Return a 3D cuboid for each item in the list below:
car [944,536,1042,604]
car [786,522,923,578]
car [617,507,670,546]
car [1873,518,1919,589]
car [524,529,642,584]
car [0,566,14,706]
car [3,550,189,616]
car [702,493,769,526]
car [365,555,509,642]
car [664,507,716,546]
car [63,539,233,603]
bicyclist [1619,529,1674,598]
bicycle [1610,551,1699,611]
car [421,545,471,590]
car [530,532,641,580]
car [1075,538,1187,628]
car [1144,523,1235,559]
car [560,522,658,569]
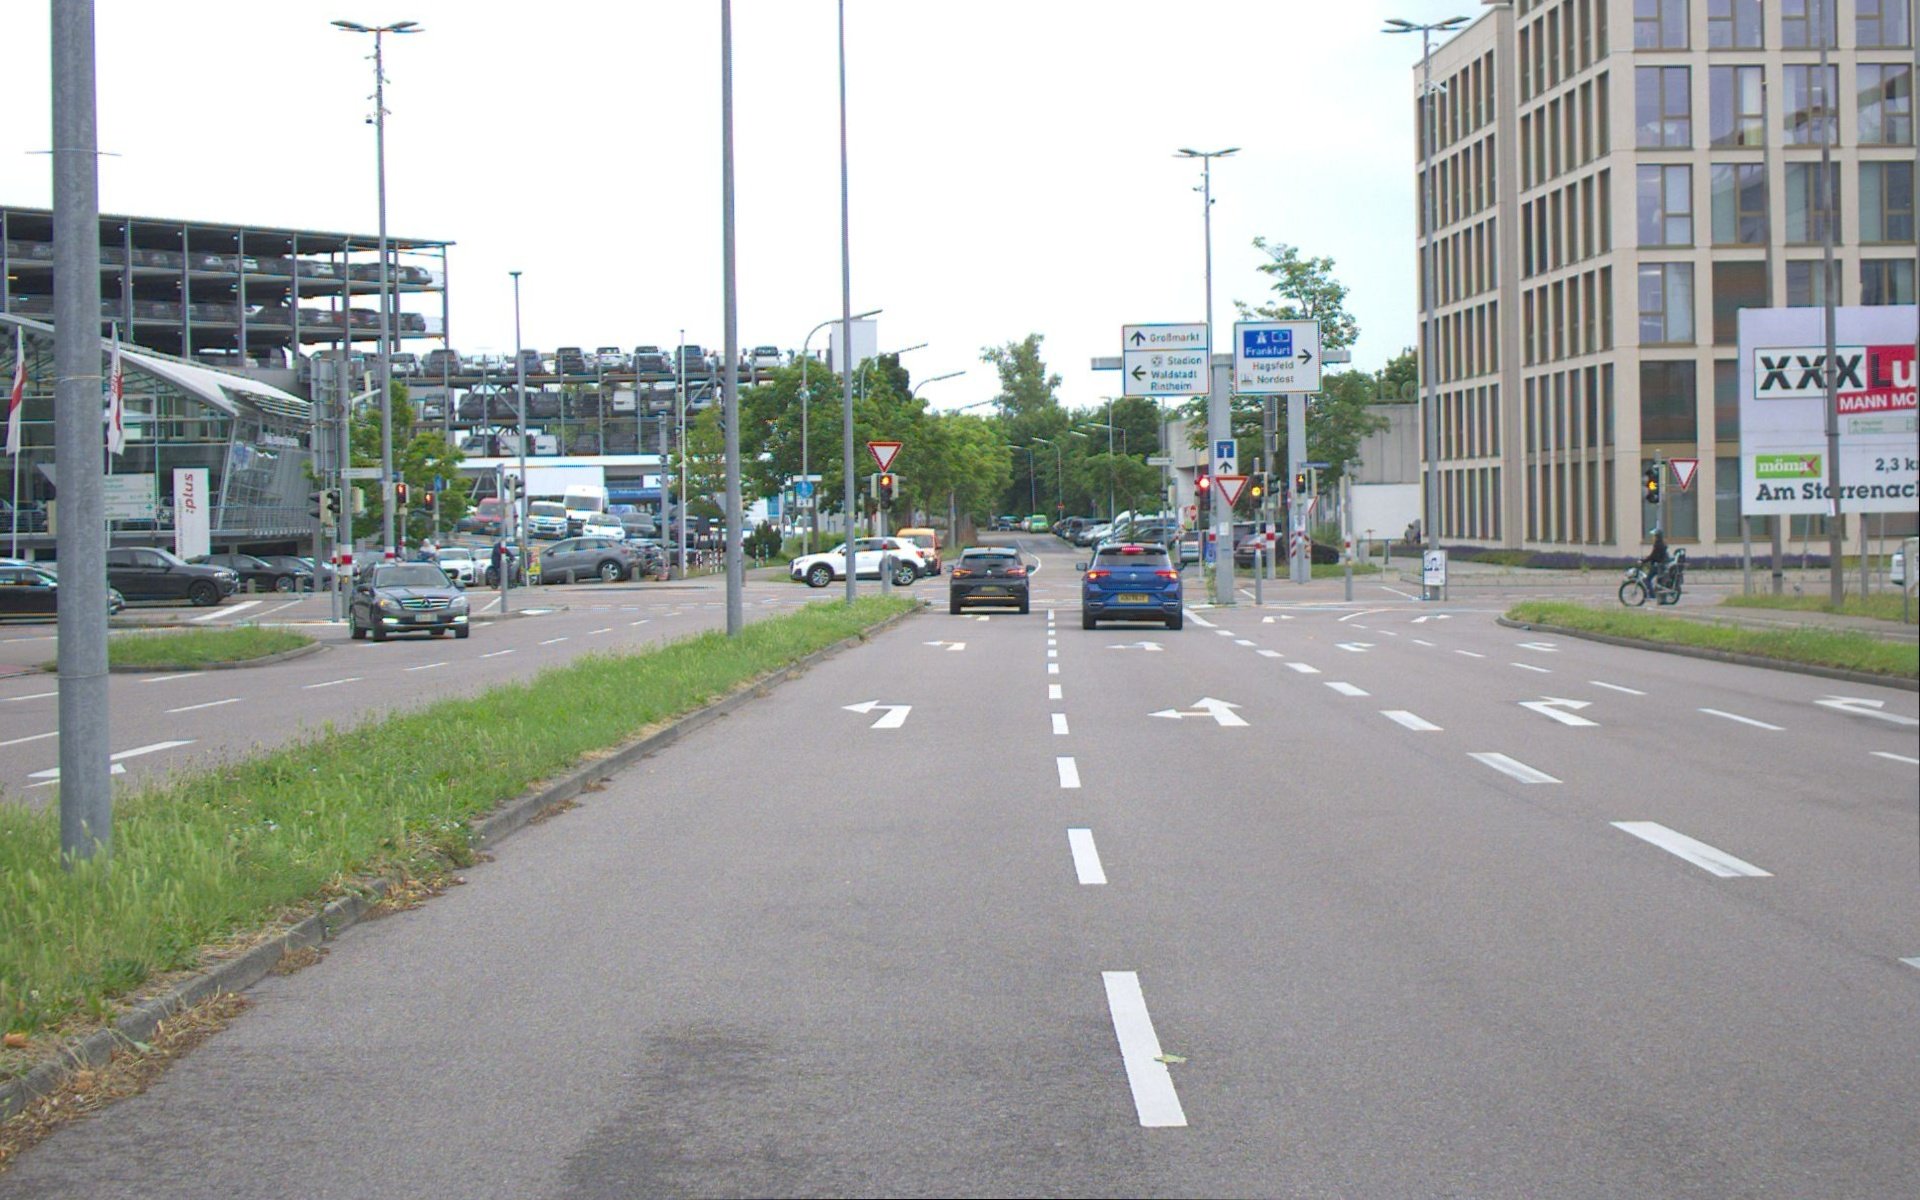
[{"bbox_3d":[0.693,-0.632,74.857,1.987,1.423,4.241,-1,0,-1],"label":"car"},{"bbox_3d":[-3.238,-1.540,105.296,3.941,1.562,1.761,-1,3,-10],"label":"car"},{"bbox_3d":[-14.989,-3.484,163.201,1.776,1.700,3.916,0,3,6],"label":"car"},{"bbox_3d":[25.186,-1.175,85.814,4.165,1.746,2.001,-1,1,-8],"label":"car"},{"bbox_3d":[-13.064,-1.516,119.246,3.986,1.784,1.848,-1,3,-4],"label":"car"},{"bbox_3d":[-11.136,0.436,34.217,1.931,1.451,4.181,-2,1,5],"label":"car"},{"bbox_3d":[-22.291,-0.450,88.817,4.415,1.654,2.000,0,1,-6],"label":"car"},{"bbox_3d":[-11.328,-4.567,173.400,3.295,1.635,1.480,-1,3,-2],"label":"car"},{"bbox_3d":[-9.787,-0.063,64.631,1.791,1.474,4.531,-2,1,3],"label":"car"},{"bbox_3d":[-12.798,-3.507,163.201,1.776,1.700,3.916,0,3,6],"label":"car"},{"bbox_3d":[-22.482,-0.811,95.353,4.401,1.638,2.001,-1,3,-8],"label":"car"},{"bbox_3d":[15.194,-0.809,76.110,0.700,1.498,1.000,-1,2,-35],"label":"bicyclist"},{"bbox_3d":[15.332,-0.422,75.938,0.700,1.291,2.011,-1,2,-35],"label":"bicycle"},{"bbox_3d":[-17.081,-1.090,114.101,1.370,1.321,3.035,-1,3,-13],"label":"car"},{"bbox_3d":[-13.218,-1.559,121.488,3.822,1.584,1.683,-1,3,-4],"label":"car"},{"bbox_3d":[3.058,-0.335,62.253,1.835,1.509,4.000,-1,2,0],"label":"car"},{"bbox_3d":[10.020,-2.586,149.948,3.607,1.473,1.758,1,3,21],"label":"car"},{"bbox_3d":[-13.234,-2.064,129.902,3.605,1.662,1.549,-1,3,-4],"label":"car"}]
